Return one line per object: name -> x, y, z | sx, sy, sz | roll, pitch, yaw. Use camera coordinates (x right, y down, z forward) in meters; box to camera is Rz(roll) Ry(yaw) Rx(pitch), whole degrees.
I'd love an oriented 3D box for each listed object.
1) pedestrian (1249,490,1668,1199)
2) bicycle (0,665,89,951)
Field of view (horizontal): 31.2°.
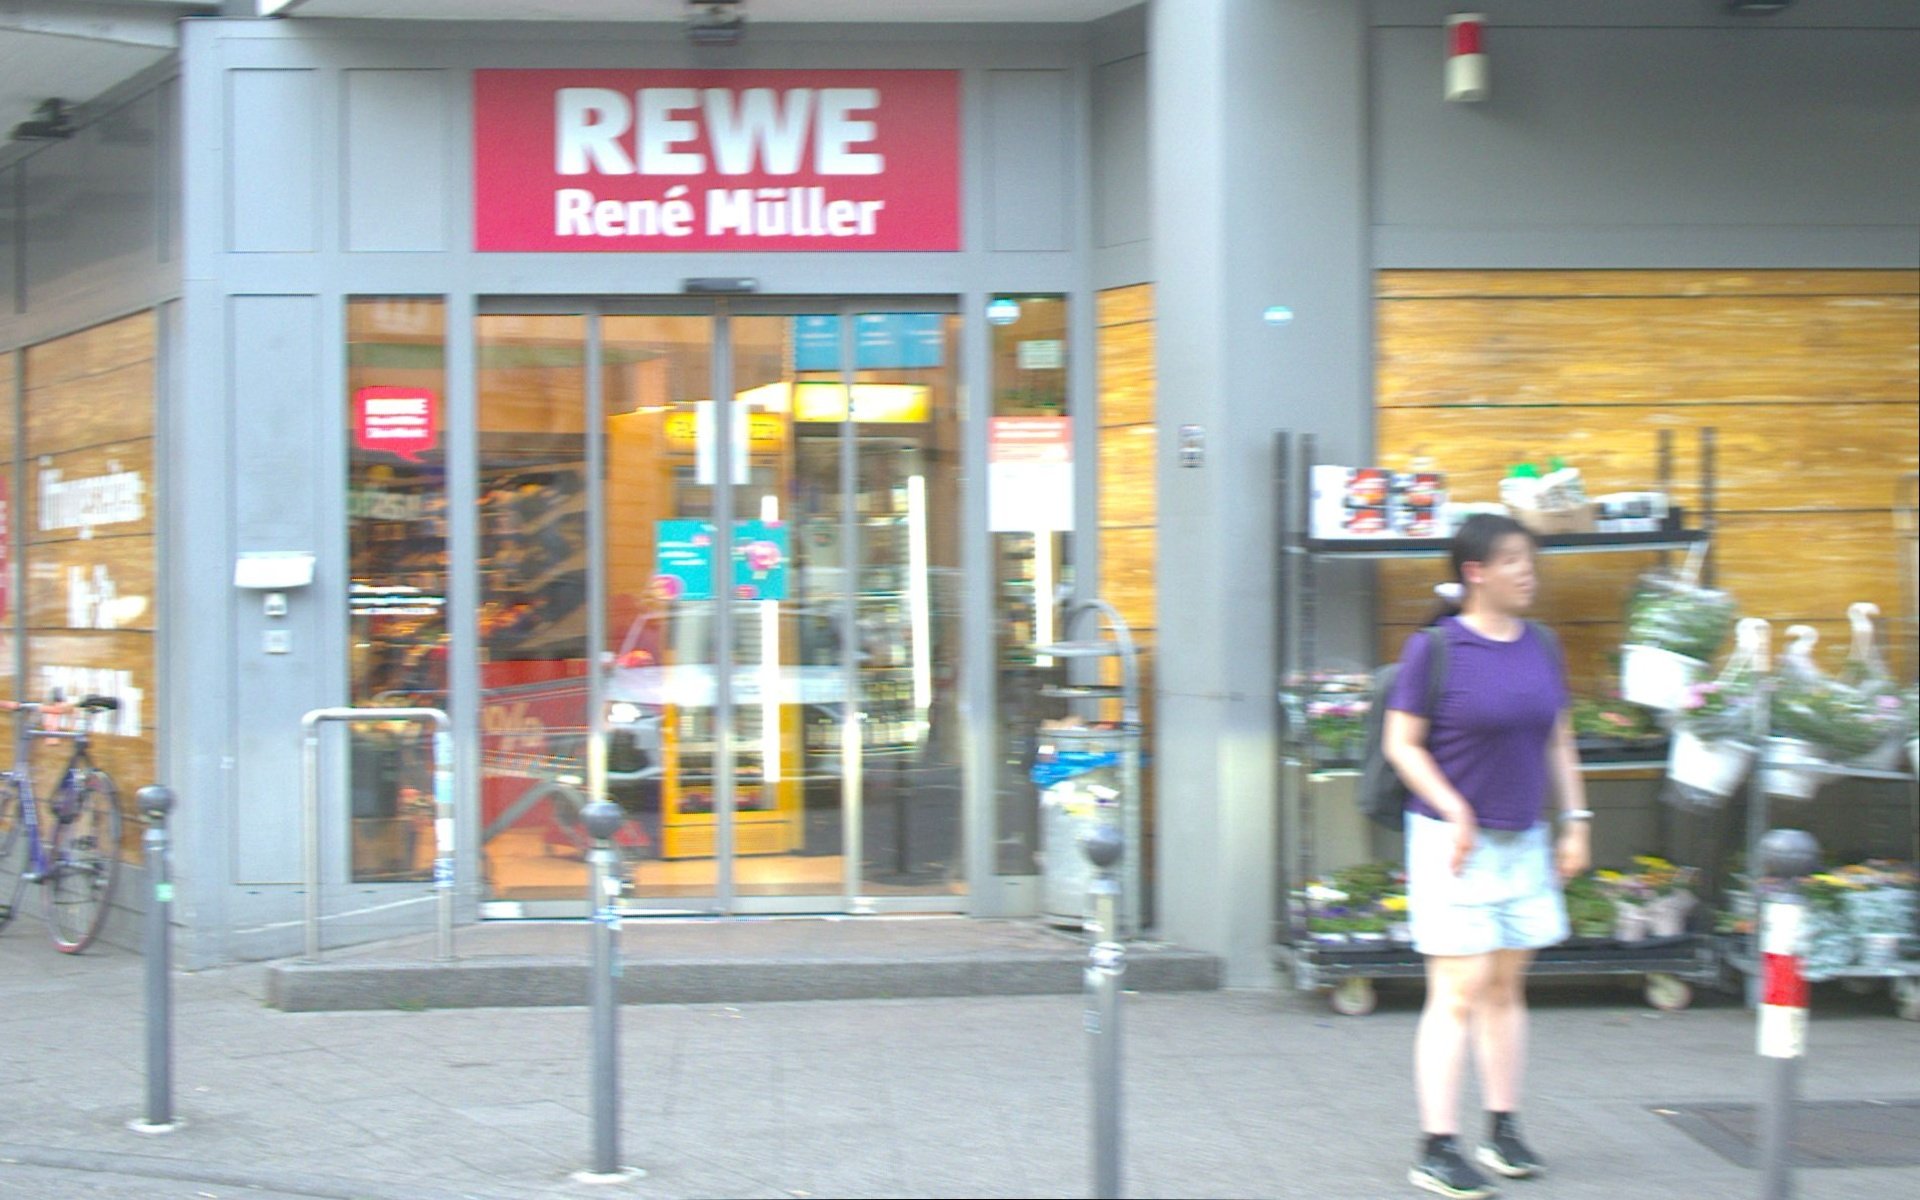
pedestrian -> 1.203, 0.580, 8.274 | 0.717, 1.646, 0.712 | 0, -1, 40
bicycle -> -3.876, 0.819, 13.895 | 0.289, 1.109, 0.966 | 1, -1, -40
